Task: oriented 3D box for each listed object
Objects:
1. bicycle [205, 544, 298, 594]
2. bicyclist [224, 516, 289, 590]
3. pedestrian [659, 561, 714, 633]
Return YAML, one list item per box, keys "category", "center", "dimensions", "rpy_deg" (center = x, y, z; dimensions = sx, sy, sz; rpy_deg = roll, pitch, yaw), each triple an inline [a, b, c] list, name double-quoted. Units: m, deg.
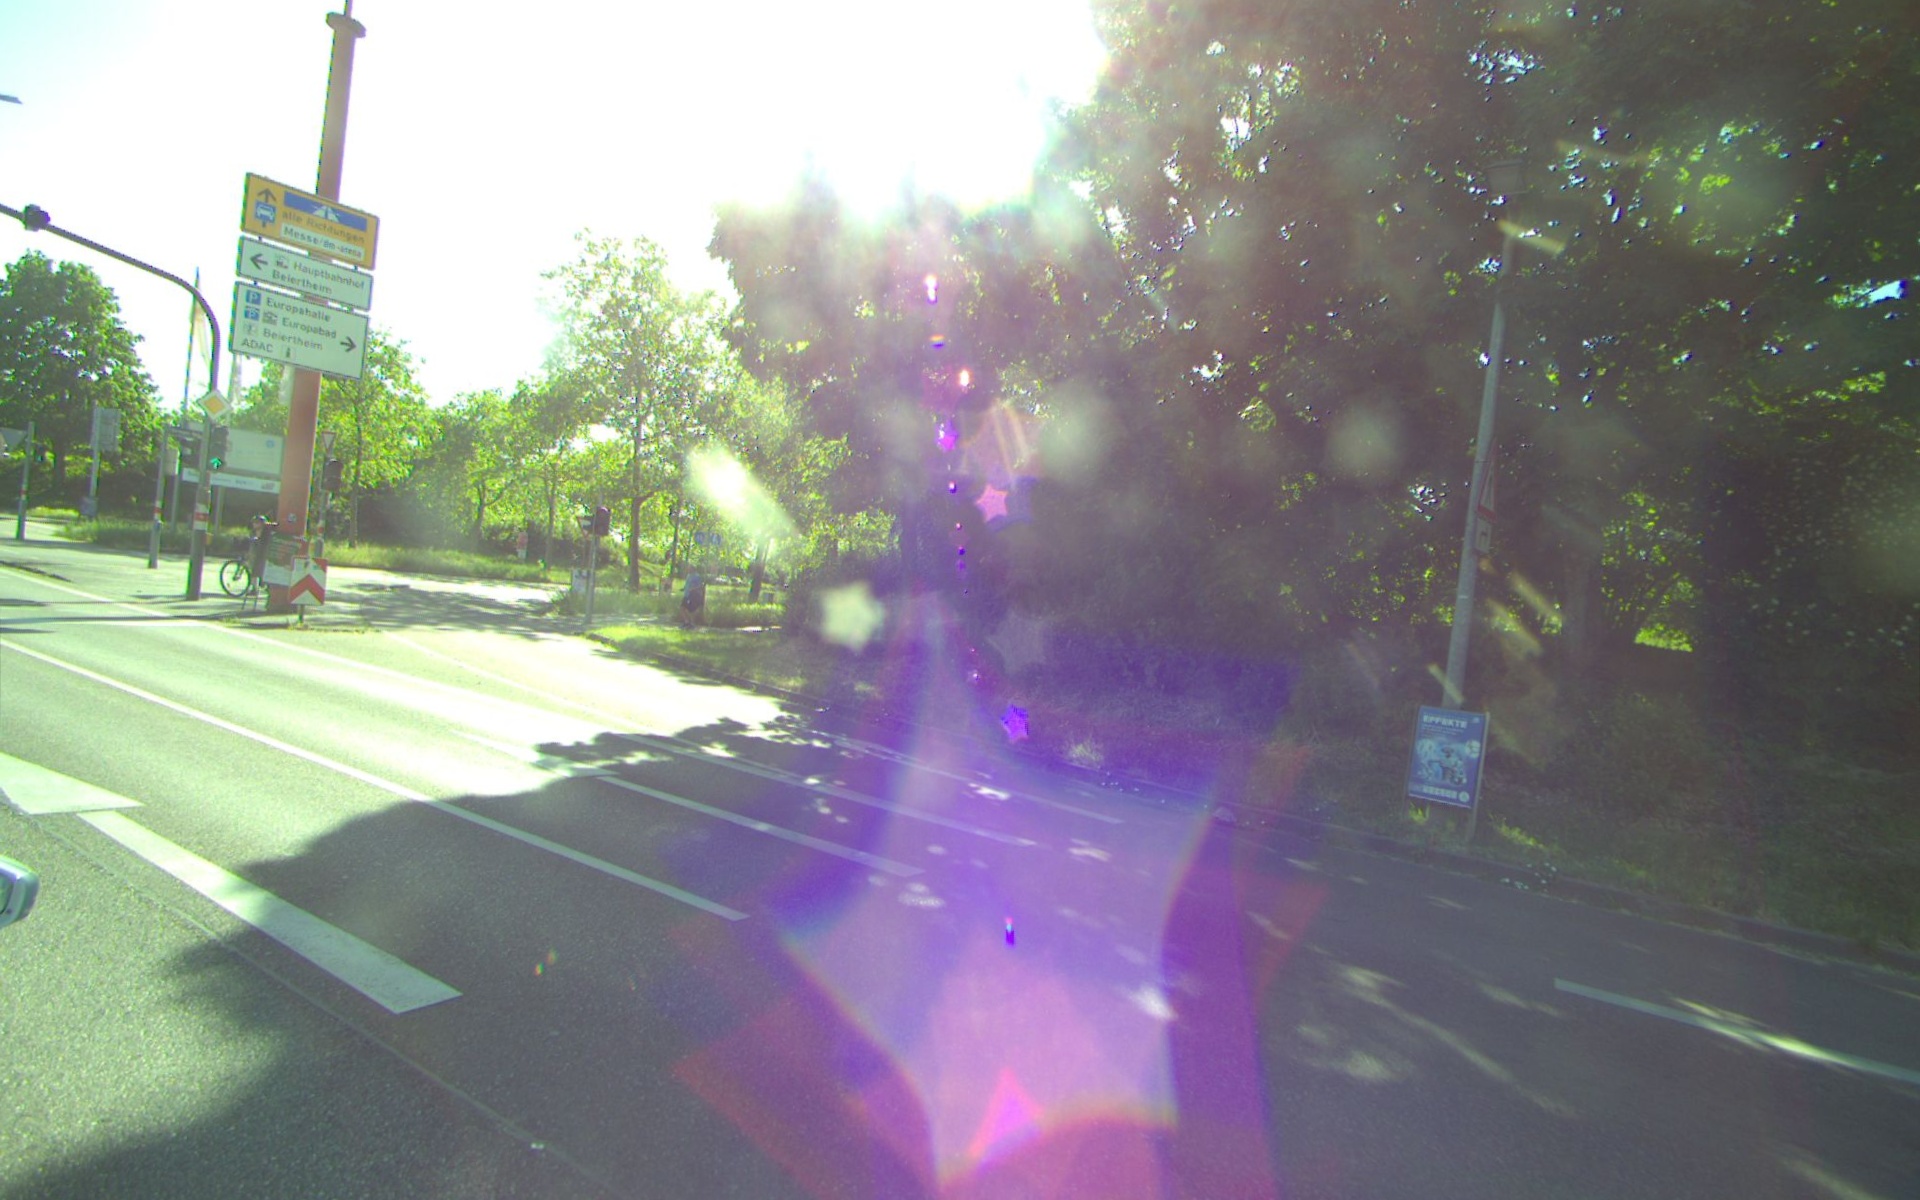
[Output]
- category: "bicycle"
  center: [-14.163, -0.606, 20.180]
  dimensions: [0.550, 0.889, 2.165]
  rpy_deg: [7, 0, -9]
- category: "bicyclist"
  center: [-14.159, -0.932, 20.270]
  dimensions: [0.695, 1.358, 0.741]
  rpy_deg: [7, 0, -8]
- category: "pedestrian"
  center: [-7.485, -0.078, 27.565]
  dimensions: [0.883, 1.810, 0.894]
  rpy_deg: [8, 0, 19]
